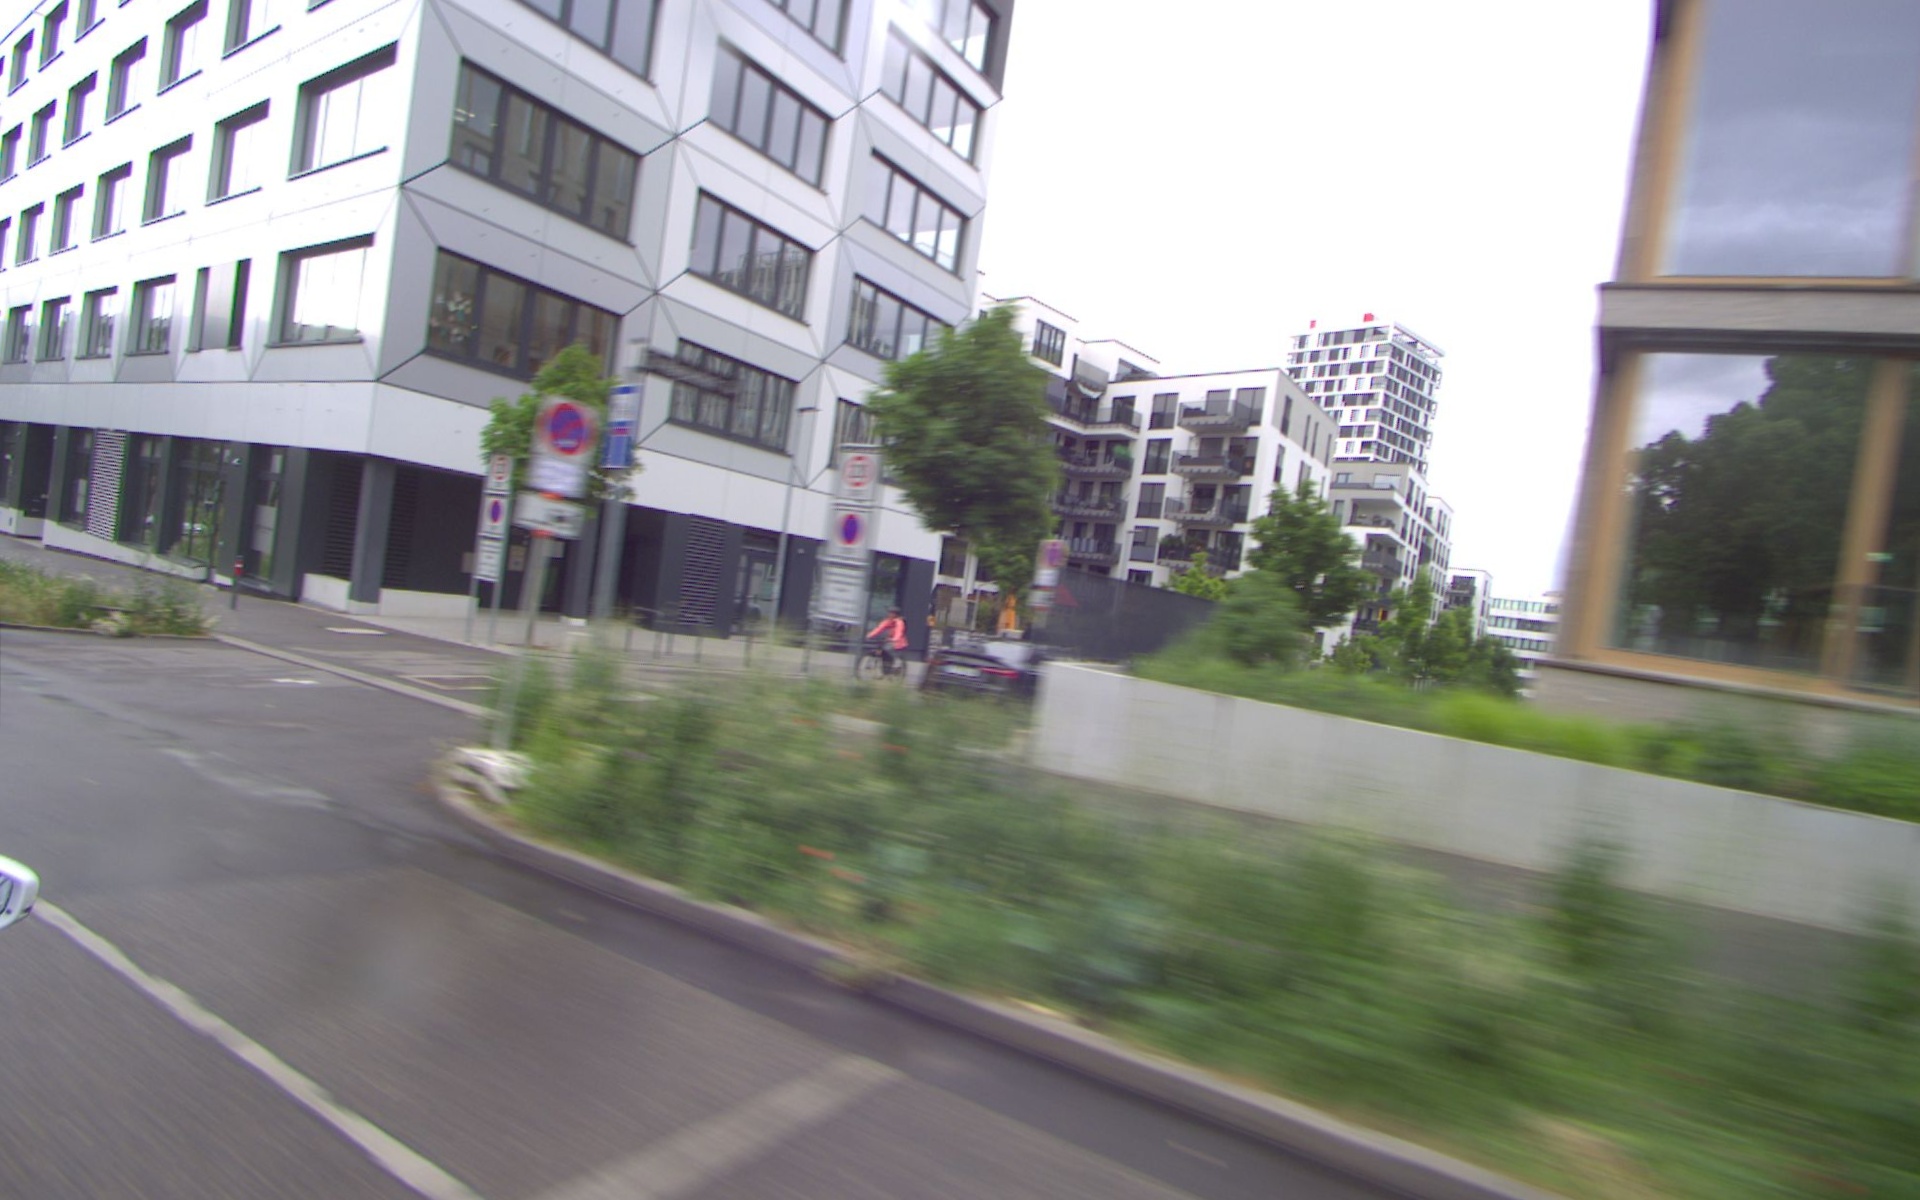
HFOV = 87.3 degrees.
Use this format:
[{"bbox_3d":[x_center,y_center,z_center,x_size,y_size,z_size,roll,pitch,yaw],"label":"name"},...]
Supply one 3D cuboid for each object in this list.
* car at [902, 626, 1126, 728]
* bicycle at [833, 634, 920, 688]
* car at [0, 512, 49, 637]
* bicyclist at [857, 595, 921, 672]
[{"bbox_3d":[1.027,1.319,16.314,1.701,1.258,4.239,6,-3,32],"label":"car"},{"bbox_3d":[-1.753,1.332,21.681,0.615,1.032,2.482,7,-1,25],"label":"bicycle"},{"bbox_3d":[-13.596,-0.586,12.253,3.981,1.475,2.052,7,-2,22],"label":"car"},{"bbox_3d":[-1.552,0.751,22.037,0.825,1.520,1.076,7,-2,24],"label":"bicyclist"}]
